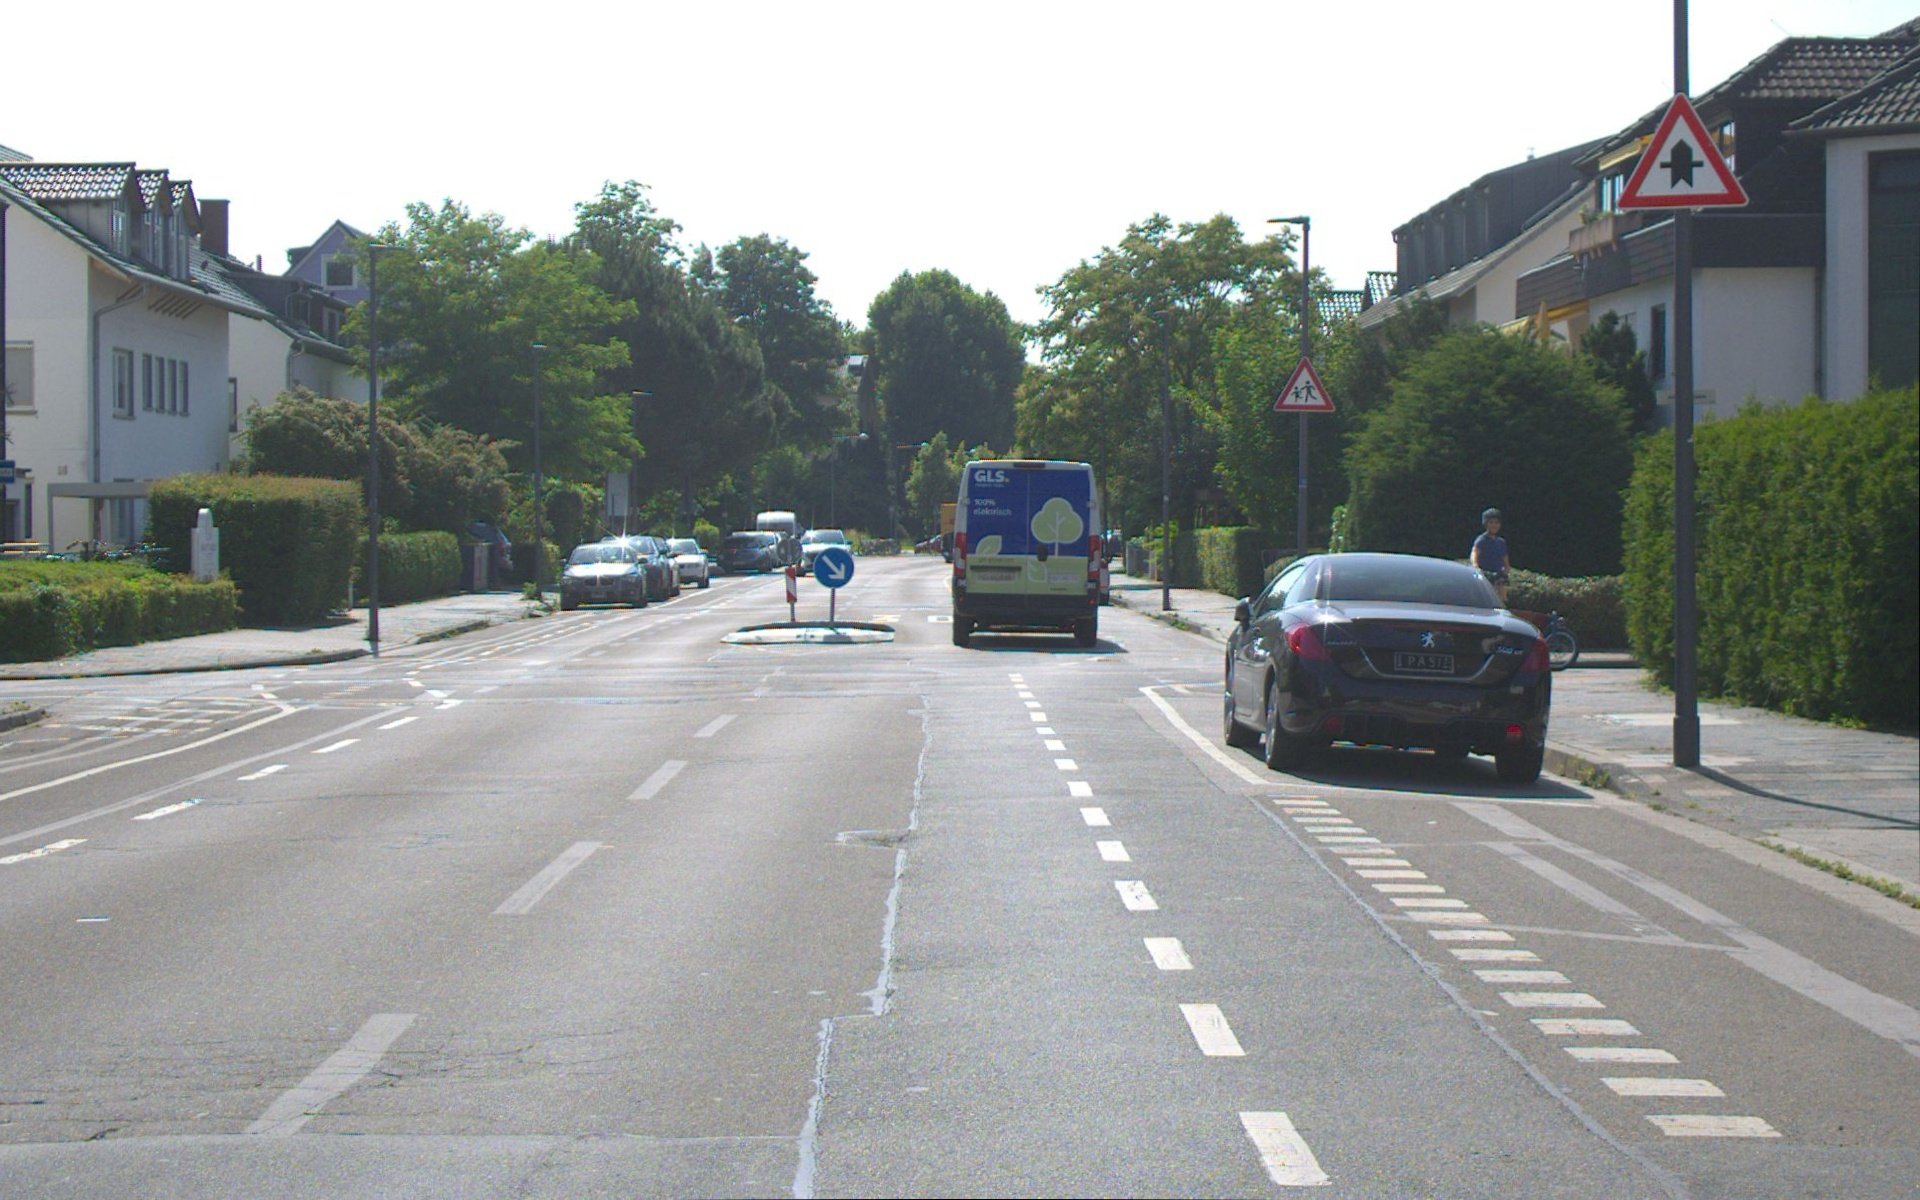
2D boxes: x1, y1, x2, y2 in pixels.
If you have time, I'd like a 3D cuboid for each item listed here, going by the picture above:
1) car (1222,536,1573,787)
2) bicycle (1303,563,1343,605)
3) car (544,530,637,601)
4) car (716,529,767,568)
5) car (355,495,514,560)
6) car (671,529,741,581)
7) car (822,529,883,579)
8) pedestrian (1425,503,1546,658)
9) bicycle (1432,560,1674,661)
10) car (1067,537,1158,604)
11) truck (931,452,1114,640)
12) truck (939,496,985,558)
[{"bbox_3d":[2.840,0.340,23.199,1.736,1.463,4.345,2,1,0],"label":"car"},{"bbox_3d":[5.367,-0.238,50.829,0.401,0.597,1.151,-1,1,-3],"label":"bicycle"},{"bbox_3d":[-8.039,-0.770,75.013,1.785,1.435,4.155,-2,2,-4],"label":"car"},{"bbox_3d":[-8.415,-2.011,132.694,1.780,1.455,4.086,0,1,-2],"label":"car"},{"bbox_3d":[-14.242,-1.973,93.330,3.987,1.753,2.000,0,2,0],"label":"car"},{"bbox_3d":[-7.262,-1.297,98.529,1.785,1.435,4.000,0,1,-1],"label":"car"},{"bbox_3d":[-3.741,-1.619,120.080,1.915,1.661,4.506,-2,1,1],"label":"car"},{"bbox_3d":[6.449,-0.251,42.200,0.899,1.866,1.189,-1,1,-33],"label":"pedestrian"},{"bbox_3d":[7.036,0.112,40.866,2.708,1.154,0.862,1,1,32],"label":"bicycle"},{"bbox_3d":[3.452,-0.697,78.471,1.740,1.397,4.074,-1,2,-2],"label":"car"},{"bbox_3d":[0.840,-0.780,49.085,2.272,2.562,4.393,0,1,-3],"label":"truck"},{"bbox_3d":[0.091,-3.559,168.027,2.214,2.936,5.686,0,1,0],"label":"truck"}]
